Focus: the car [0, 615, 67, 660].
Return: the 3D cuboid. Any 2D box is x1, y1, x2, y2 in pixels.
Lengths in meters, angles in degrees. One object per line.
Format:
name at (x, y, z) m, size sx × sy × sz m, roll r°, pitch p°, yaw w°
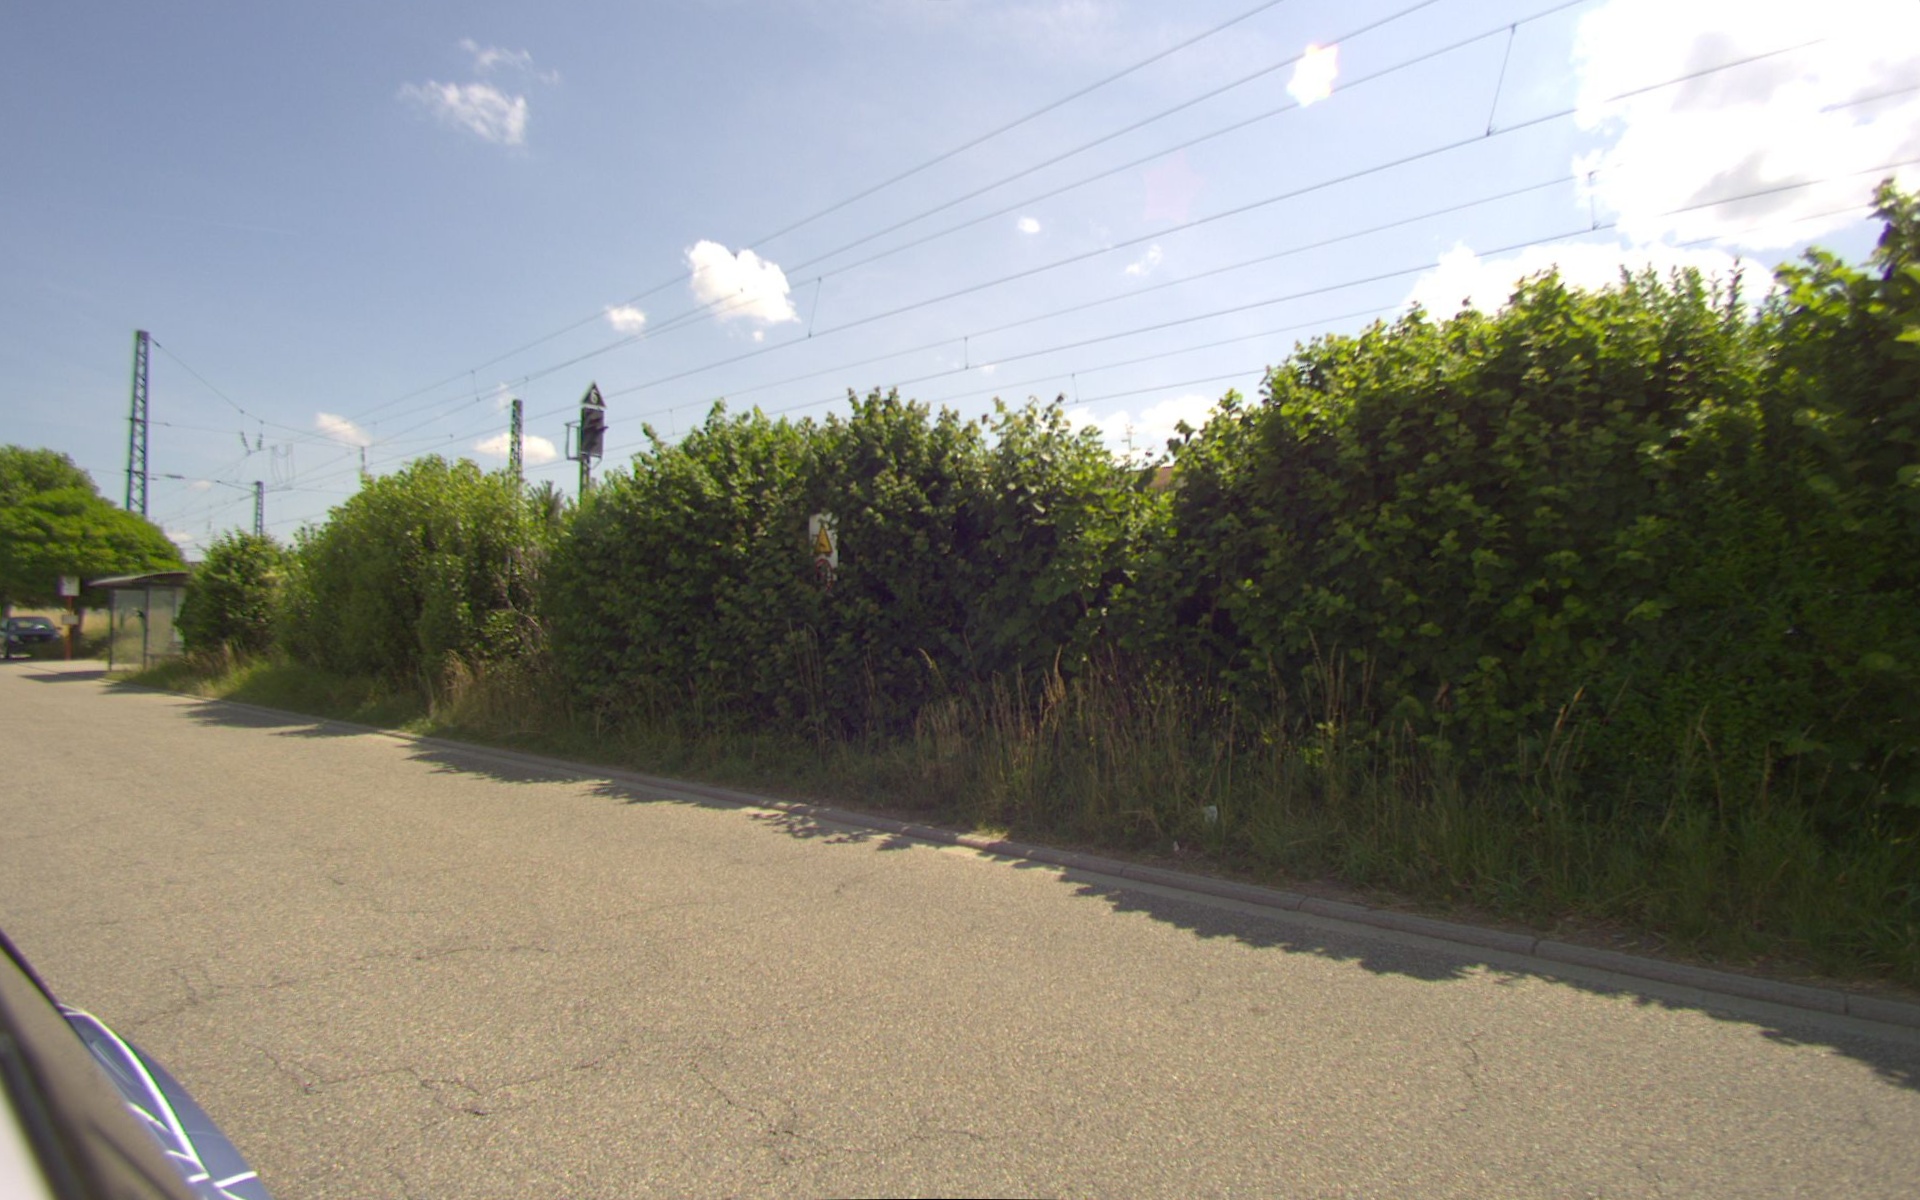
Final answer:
car at (-34.676, 1.364, 37.522) m, size 3.575 × 1.608 × 1.725 m, roll -1°, pitch -1°, yaw 38°
